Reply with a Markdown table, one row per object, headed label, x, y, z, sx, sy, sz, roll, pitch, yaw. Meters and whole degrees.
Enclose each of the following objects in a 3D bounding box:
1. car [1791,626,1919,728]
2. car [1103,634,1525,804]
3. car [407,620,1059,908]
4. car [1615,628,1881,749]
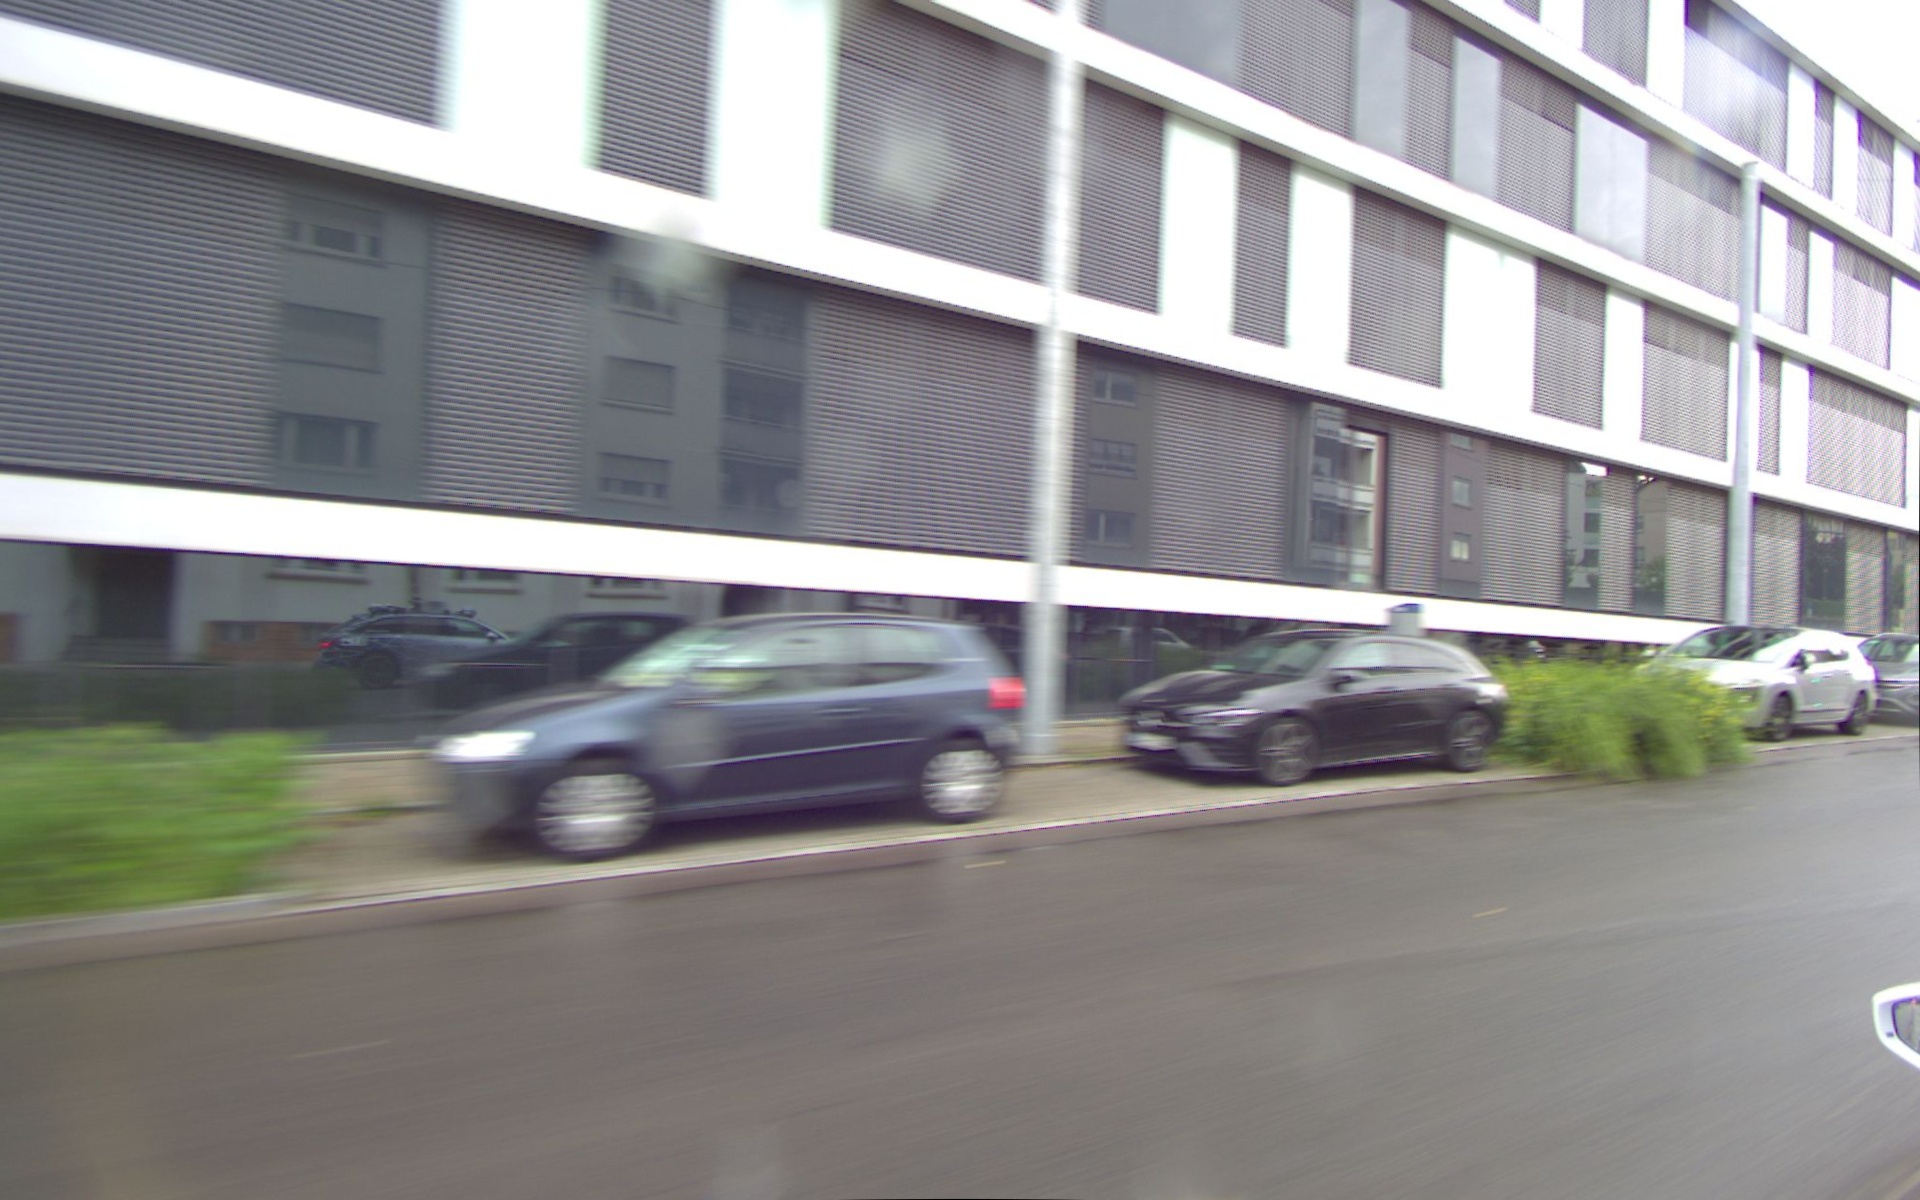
| label | x | y | z | sx | sy | sz | roll | pitch | yaw |
| --- | --- | --- | --- | --- | --- | --- | --- | --- | --- |
| car | 17.247 | 1.351 | 18.274 | 4.180 | 1.625 | 1.795 | 2 | 0 | -28 |
| car | 3.793 | 1.102 | 10.583 | 4.341 | 1.415 | 1.829 | 1 | 0 | -30 |
| car | -1.560 | 0.924 | 7.313 | 4.295 | 1.509 | 1.854 | 1 | 0 | -30 |
| car | 12.034 | 1.234 | 15.282 | 4.265 | 1.555 | 1.762 | 1 | 0 | -31 |
